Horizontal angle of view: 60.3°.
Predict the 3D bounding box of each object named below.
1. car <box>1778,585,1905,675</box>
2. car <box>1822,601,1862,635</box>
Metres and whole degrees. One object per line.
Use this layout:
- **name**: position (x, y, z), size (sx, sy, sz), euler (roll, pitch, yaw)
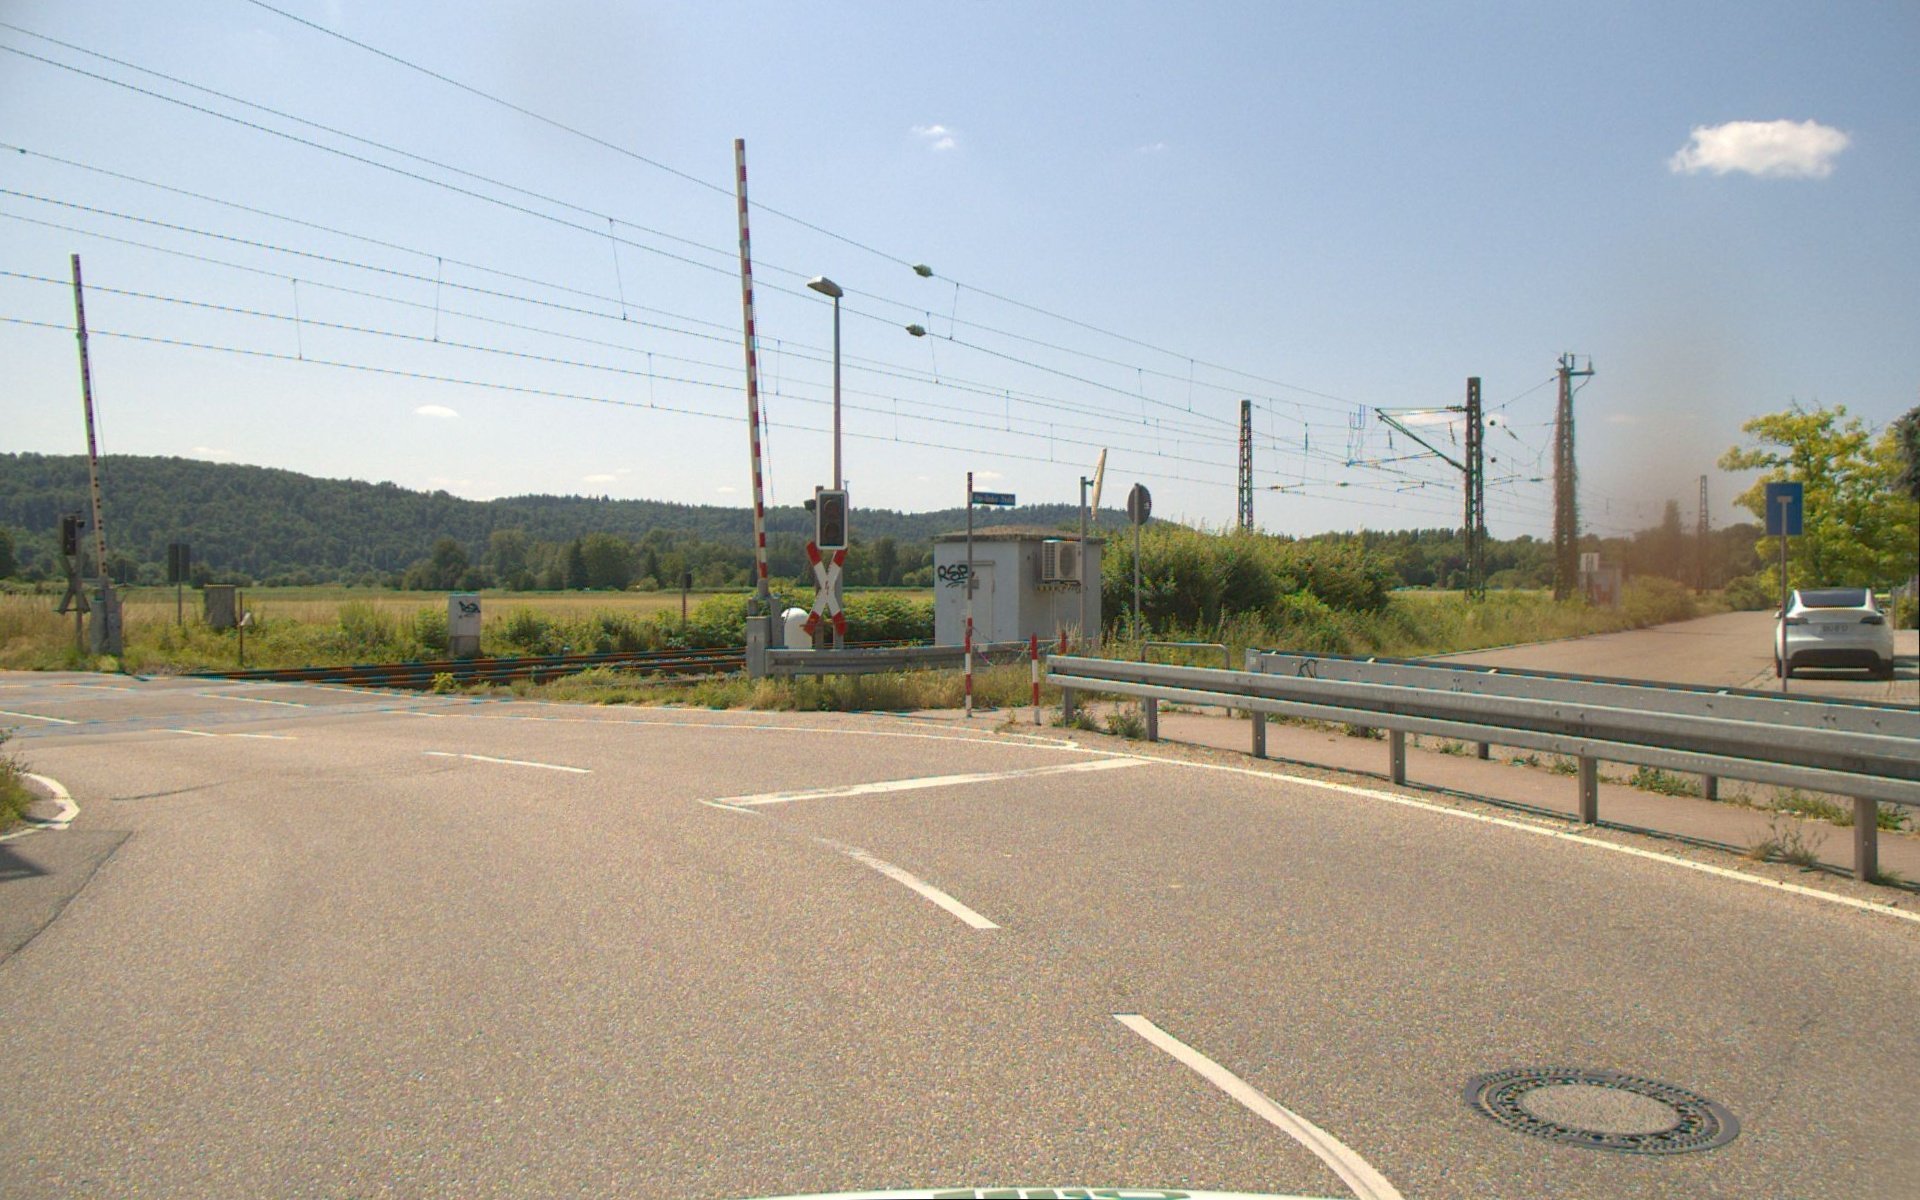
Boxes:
- **car**: position (16.411, 0.491, 30.954), size (1.955, 1.536, 4.450), euler (0, 1, 27)
- **car**: position (40.534, 0.800, 75.985), size (1.561, 1.478, 3.327), euler (0, 0, 30)
